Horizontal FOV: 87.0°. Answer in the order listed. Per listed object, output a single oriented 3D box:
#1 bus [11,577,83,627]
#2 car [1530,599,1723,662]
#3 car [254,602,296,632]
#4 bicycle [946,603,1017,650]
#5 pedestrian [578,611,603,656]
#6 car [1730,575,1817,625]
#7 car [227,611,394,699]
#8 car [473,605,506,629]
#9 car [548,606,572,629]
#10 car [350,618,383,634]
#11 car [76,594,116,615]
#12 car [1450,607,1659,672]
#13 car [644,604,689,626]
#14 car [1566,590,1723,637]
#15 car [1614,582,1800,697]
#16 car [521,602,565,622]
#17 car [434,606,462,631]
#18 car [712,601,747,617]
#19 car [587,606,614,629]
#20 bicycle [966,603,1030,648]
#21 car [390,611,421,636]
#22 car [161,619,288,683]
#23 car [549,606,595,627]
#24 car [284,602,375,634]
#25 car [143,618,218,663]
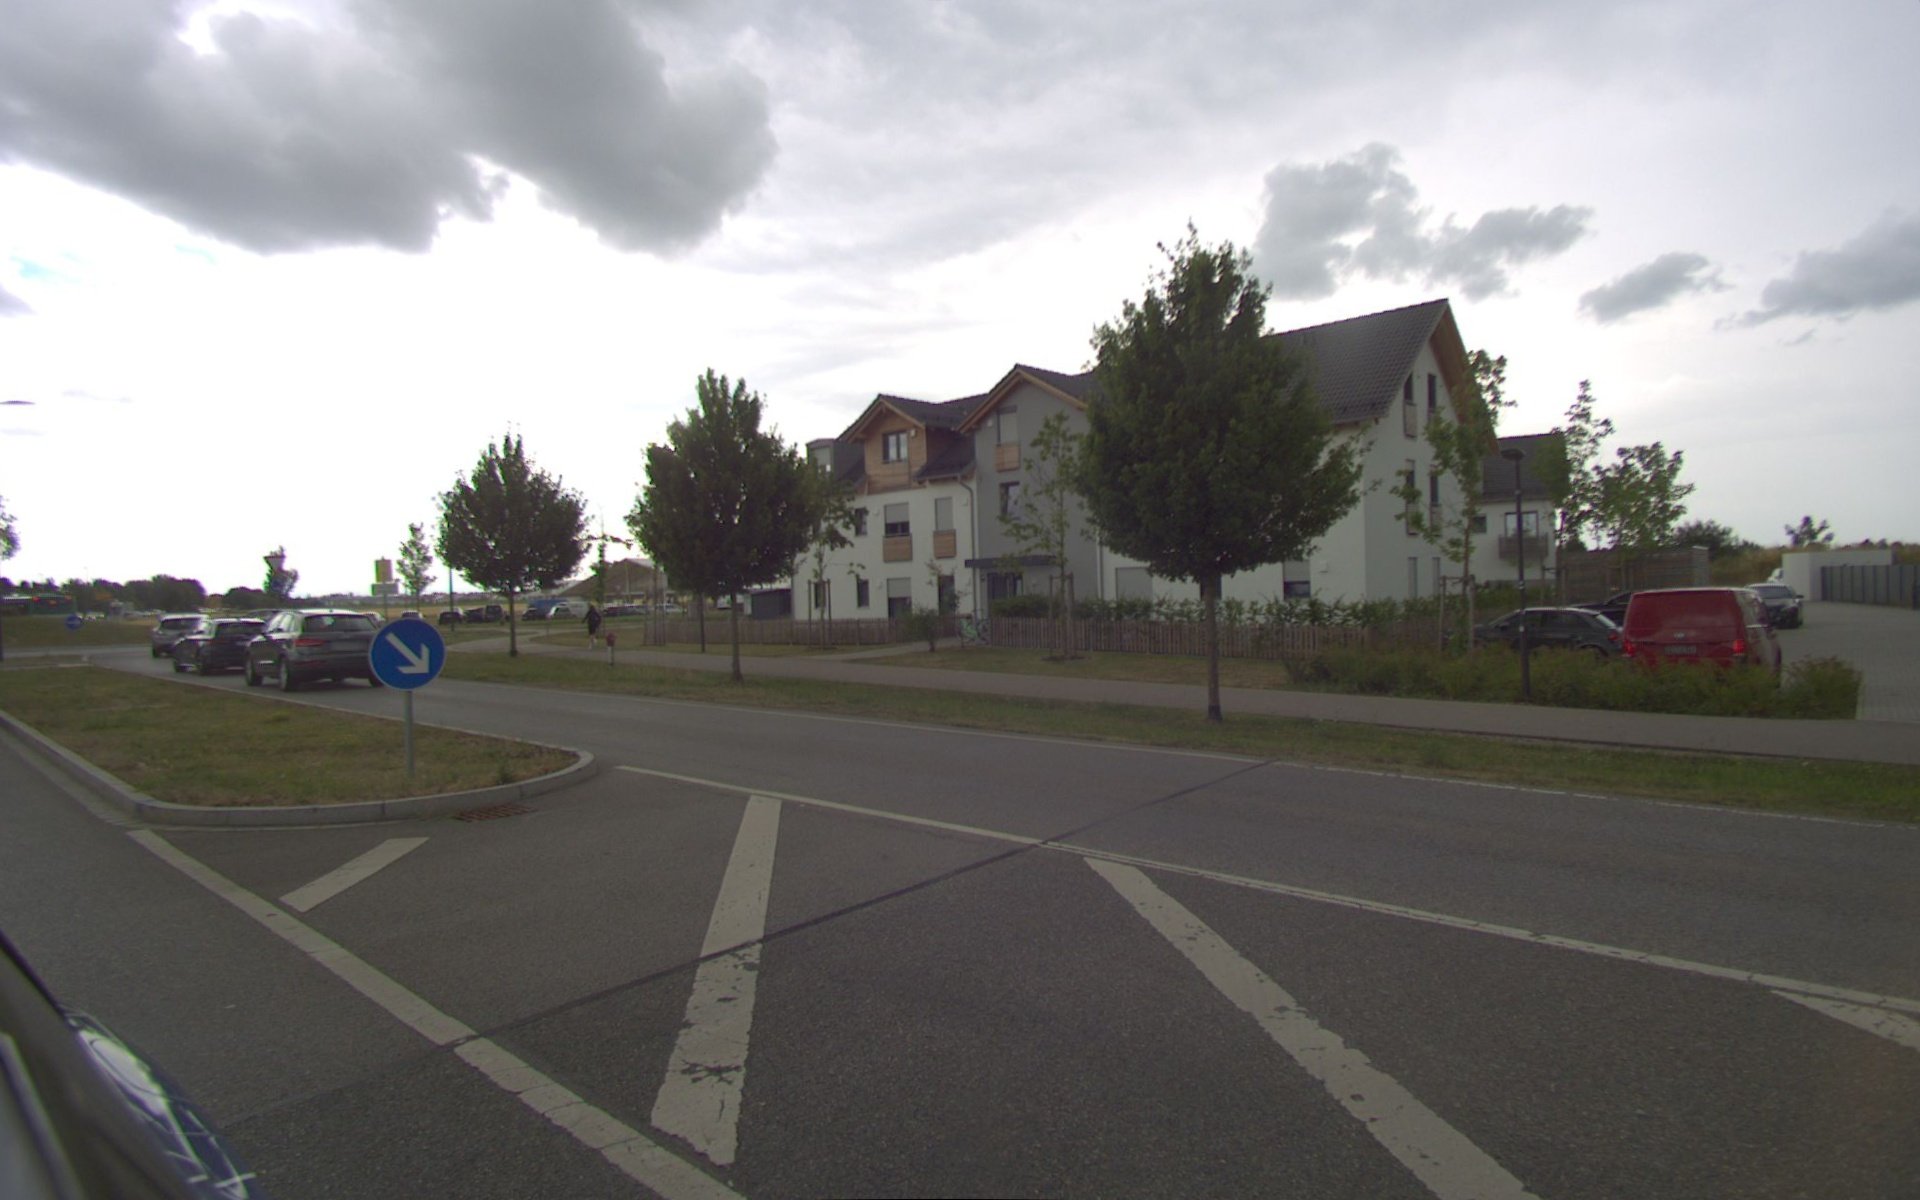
[{"bbox_3d":[-63.284,0.198,70.111,6.481,3.305,2.953,-2,-1,41],"label":"bus"},{"bbox_3d":[17.441,0.779,26.572,3.998,1.519,1.973,-2,-1,41],"label":"car"},{"bbox_3d":[-41.314,0.998,60.987,1.802,1.735,4.408,0,0,-38],"label":"car"},{"bbox_3d":[0.668,0.841,32.133,2.342,1.423,0.675,-2,-1,41],"label":"bicycle"},{"bbox_3d":[-13.102,1.195,35.906,0.586,1.541,0.540,-2,1,41],"label":"pedestrian"},{"bbox_3d":[27.684,0.020,34.398,2.000,1.598,3.943,-2,-1,43],"label":"car"},{"bbox_3d":[-13.316,1.056,20.662,4.214,1.594,1.806,-2,-1,42],"label":"car"},{"bbox_3d":[-40.462,1.443,86.964,1.966,2.029,4.011,0,-1,-34],"label":"car"},{"bbox_3d":[-36.233,1.621,91.811,1.965,2.029,4.013,0,-1,-21],"label":"car"},{"bbox_3d":[-48.993,2.154,83.633,1.965,1.298,4.013,0,-1,-24],"label":"car"},{"bbox_3d":[-64.715,0.347,75.795,3.998,1.454,1.752,-2,-1,41],"label":"car"},{"bbox_3d":[14.102,0.908,24.116,3.998,1.431,1.856,-2,-1,41],"label":"car"},{"bbox_3d":[-28.399,1.469,98.026,1.991,2.029,3.961,-1,-1,29],"label":"car"},{"bbox_3d":[22.053,0.460,32.688,3.998,1.431,1.856,-2,-1,41],"label":"car"},{"bbox_3d":[13.718,0.653,18.472,4.848,1.830,1.908,0,-1,-44],"label":"car"},{"bbox_3d":[-43.904,1.252,106.645,1.991,2.029,3.961,-1,-1,29],"label":"car"},{"bbox_3d":[-43.471,1.551,86.031,1.965,2.029,4.013,0,-1,-24],"label":"car"},{"bbox_3d":[-30.245,1.147,132.950,1.991,2.029,4.523,-1,-1,28],"label":"car"},{"bbox_3d":[-32.852,1.583,92.524,2.194,2.029,4.013,0,-1,-21],"label":"car"},{"bbox_3d":[1.218,0.832,32.780,2.093,1.428,0.675,-2,-1,41],"label":"bicycle"},{"bbox_3d":[-46.548,1.939,85.020,1.965,2.029,4.013,0,-1,-24],"label":"car"},{"bbox_3d":[-19.195,1.282,26.345,4.348,1.500,1.806,-2,-1,42],"label":"car"},{"bbox_3d":[-38.759,1.668,101.137,1.994,2.029,3.956,-1,-1,32],"label":"car"},{"bbox_3d":[-32.047,0.909,51.621,1.807,1.500,4.333,-1,-1,3],"label":"car"},{"bbox_3d":[-27.968,1.422,36.265,1.803,1.500,4.220,0,-1,-42],"label":"car"}]
